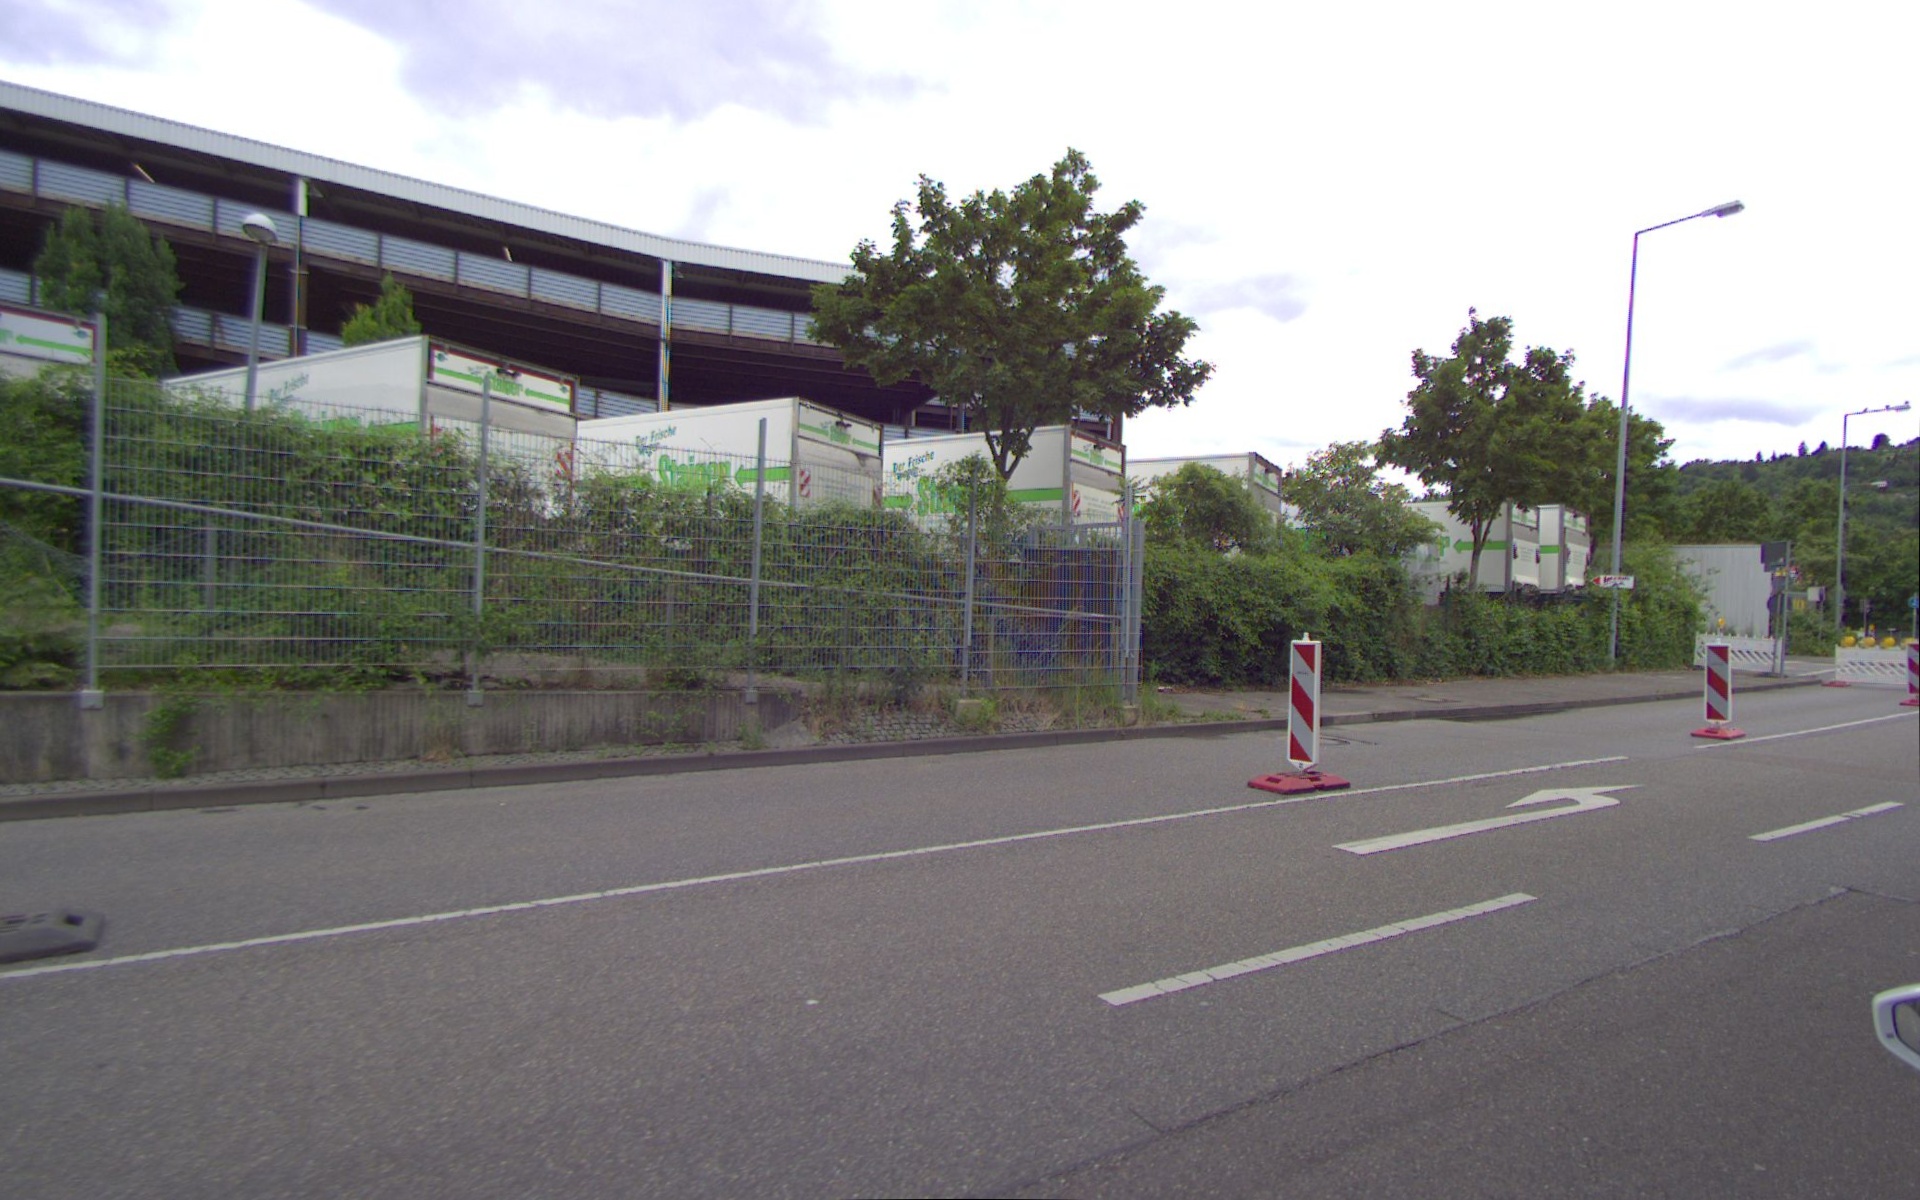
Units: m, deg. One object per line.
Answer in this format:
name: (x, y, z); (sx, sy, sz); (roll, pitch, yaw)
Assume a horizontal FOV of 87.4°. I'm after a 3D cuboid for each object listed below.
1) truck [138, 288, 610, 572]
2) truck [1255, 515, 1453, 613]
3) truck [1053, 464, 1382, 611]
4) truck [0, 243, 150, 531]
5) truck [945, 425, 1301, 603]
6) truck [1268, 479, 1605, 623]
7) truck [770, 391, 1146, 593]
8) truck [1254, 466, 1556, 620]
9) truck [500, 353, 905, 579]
truck: (-9.877, -2.468, 16.661); (8.009, 3.585, 3.047); (3, 0, 30)
truck: (10.920, -0.975, 28.128); (2.176, 2.437, 4.653); (3, 0, -37)
truck: (6.663, -1.593, 26.460); (7.729, 3.292, 3.046); (3, 0, 32)
truck: (-15.823, -3.005, 15.027); (7.725, 3.585, 3.047); (3, 0, 30)
truck: (3.787, -1.940, 24.127); (7.729, 3.585, 3.046); (3, 0, 32)
truck: (15.377, -1.527, 33.292); (3.030, 4.044, 9.531); (3, 0, -42)
truck: (-0.214, -2.156, 21.954); (7.735, 3.585, 3.043); (3, 0, 35)
truck: (13.340, -1.643, 30.728); (3.032, 4.044, 7.763); (3, 0, -44)
truck: (-5.231, -2.428, 19.953); (7.725, 3.585, 3.047); (3, 0, 30)
